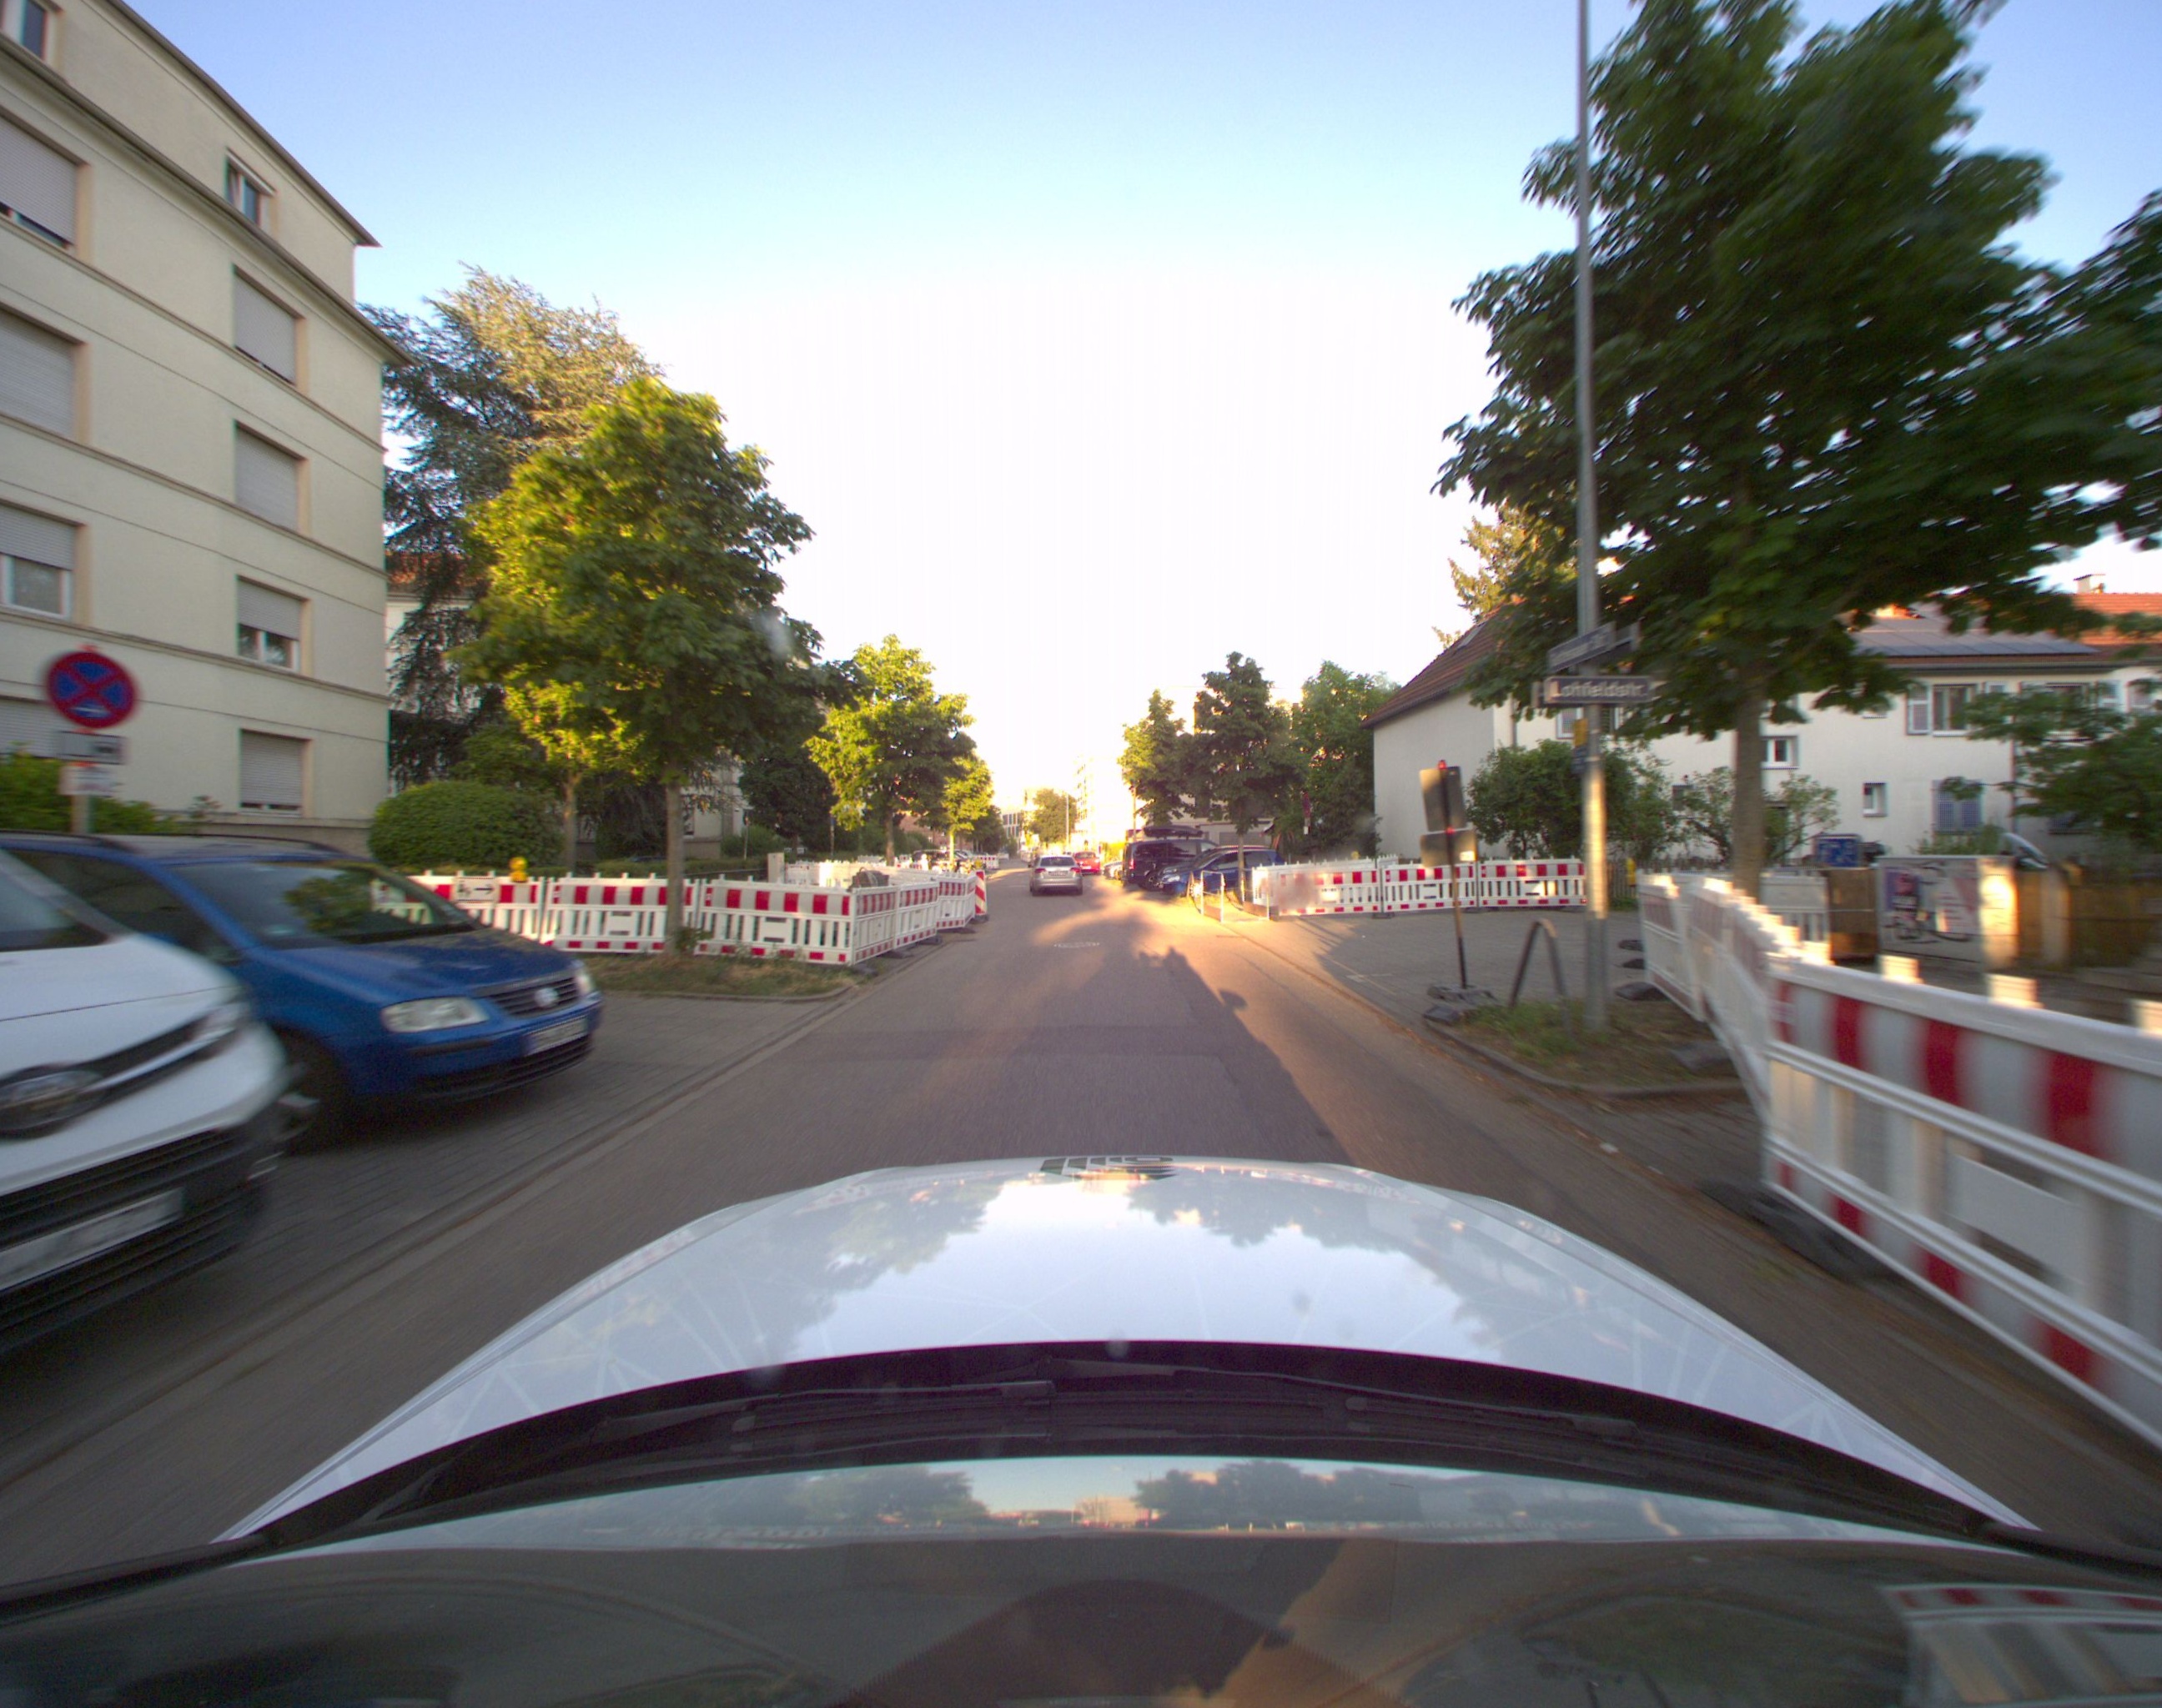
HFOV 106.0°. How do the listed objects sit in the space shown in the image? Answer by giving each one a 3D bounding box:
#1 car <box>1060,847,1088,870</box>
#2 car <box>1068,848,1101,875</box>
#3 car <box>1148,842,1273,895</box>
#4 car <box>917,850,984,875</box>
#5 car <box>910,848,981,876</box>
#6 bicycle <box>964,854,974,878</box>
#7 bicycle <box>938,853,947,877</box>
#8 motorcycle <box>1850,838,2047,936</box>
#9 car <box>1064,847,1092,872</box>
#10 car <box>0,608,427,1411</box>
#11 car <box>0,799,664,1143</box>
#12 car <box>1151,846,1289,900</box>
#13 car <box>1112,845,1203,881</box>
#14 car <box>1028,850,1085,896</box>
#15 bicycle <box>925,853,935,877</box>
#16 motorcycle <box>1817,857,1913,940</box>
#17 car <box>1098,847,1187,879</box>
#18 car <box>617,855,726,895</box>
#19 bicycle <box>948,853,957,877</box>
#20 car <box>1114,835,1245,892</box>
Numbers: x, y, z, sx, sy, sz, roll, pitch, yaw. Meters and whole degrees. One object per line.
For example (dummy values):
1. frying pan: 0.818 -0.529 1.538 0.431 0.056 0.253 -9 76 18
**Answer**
1. car: -0.534 0.282 59.140 1.805 1.612 3.576 0 1 -4
2. car: 0.161 0.418 48.686 1.727 1.483 3.553 0 1 -4
3. car: 4.492 0.482 28.618 3.983 1.768 1.995 0 0 -7
4. car: -8.036 0.498 50.404 3.983 1.480 1.995 -1 0 -7
5. car: -7.929 0.437 47.926 3.983 1.625 1.995 0 0 -7
6. bicycle: -5.967 0.609 43.358 0.406 1.227 1.980 0 1 -10
7. bicycle: -7.375 0.569 43.367 0.405 1.227 1.982 0 1 -7
8. motorcycle: 13.394 0.463 12.653 0.601 1.416 2.056 0 1 -42
9. car: -0.202 0.334 54.276 1.660 1.573 3.436 0 1 -4
10. car: -5.085 0.389 2.332 4.756 2.013 2.000 0 0 0
11. car: -5.060 0.585 5.057 3.976 1.752 1.799 0 0 -2
12. car: 4.398 0.564 26.007 3.987 1.651 1.759 0 0 -10
13. car: 3.593 0.396 38.484 3.940 1.649 1.970 0 0 -10
14. car: -0.953 0.626 29.215 1.805 1.488 3.993 -1 0 -5
15. bicycle: -8.023 0.578 43.195 0.405 1.227 1.982 0 1 -7
16. motorcycle: 11.585 0.618 12.088 0.573 1.105 1.858 0 1 29
17. car: 3.071 0.438 40.898 4.150 1.572 1.792 0 0 -10
18. car: -17.131 0.850 34.251 3.705 1.589 1.757 0 1 -9
19. bicycle: -6.832 0.554 43.379 0.405 1.227 1.982 0 1 -7
20. car: 3.680 0.322 30.957 4.554 2.023 2.096 -1 1 -8
